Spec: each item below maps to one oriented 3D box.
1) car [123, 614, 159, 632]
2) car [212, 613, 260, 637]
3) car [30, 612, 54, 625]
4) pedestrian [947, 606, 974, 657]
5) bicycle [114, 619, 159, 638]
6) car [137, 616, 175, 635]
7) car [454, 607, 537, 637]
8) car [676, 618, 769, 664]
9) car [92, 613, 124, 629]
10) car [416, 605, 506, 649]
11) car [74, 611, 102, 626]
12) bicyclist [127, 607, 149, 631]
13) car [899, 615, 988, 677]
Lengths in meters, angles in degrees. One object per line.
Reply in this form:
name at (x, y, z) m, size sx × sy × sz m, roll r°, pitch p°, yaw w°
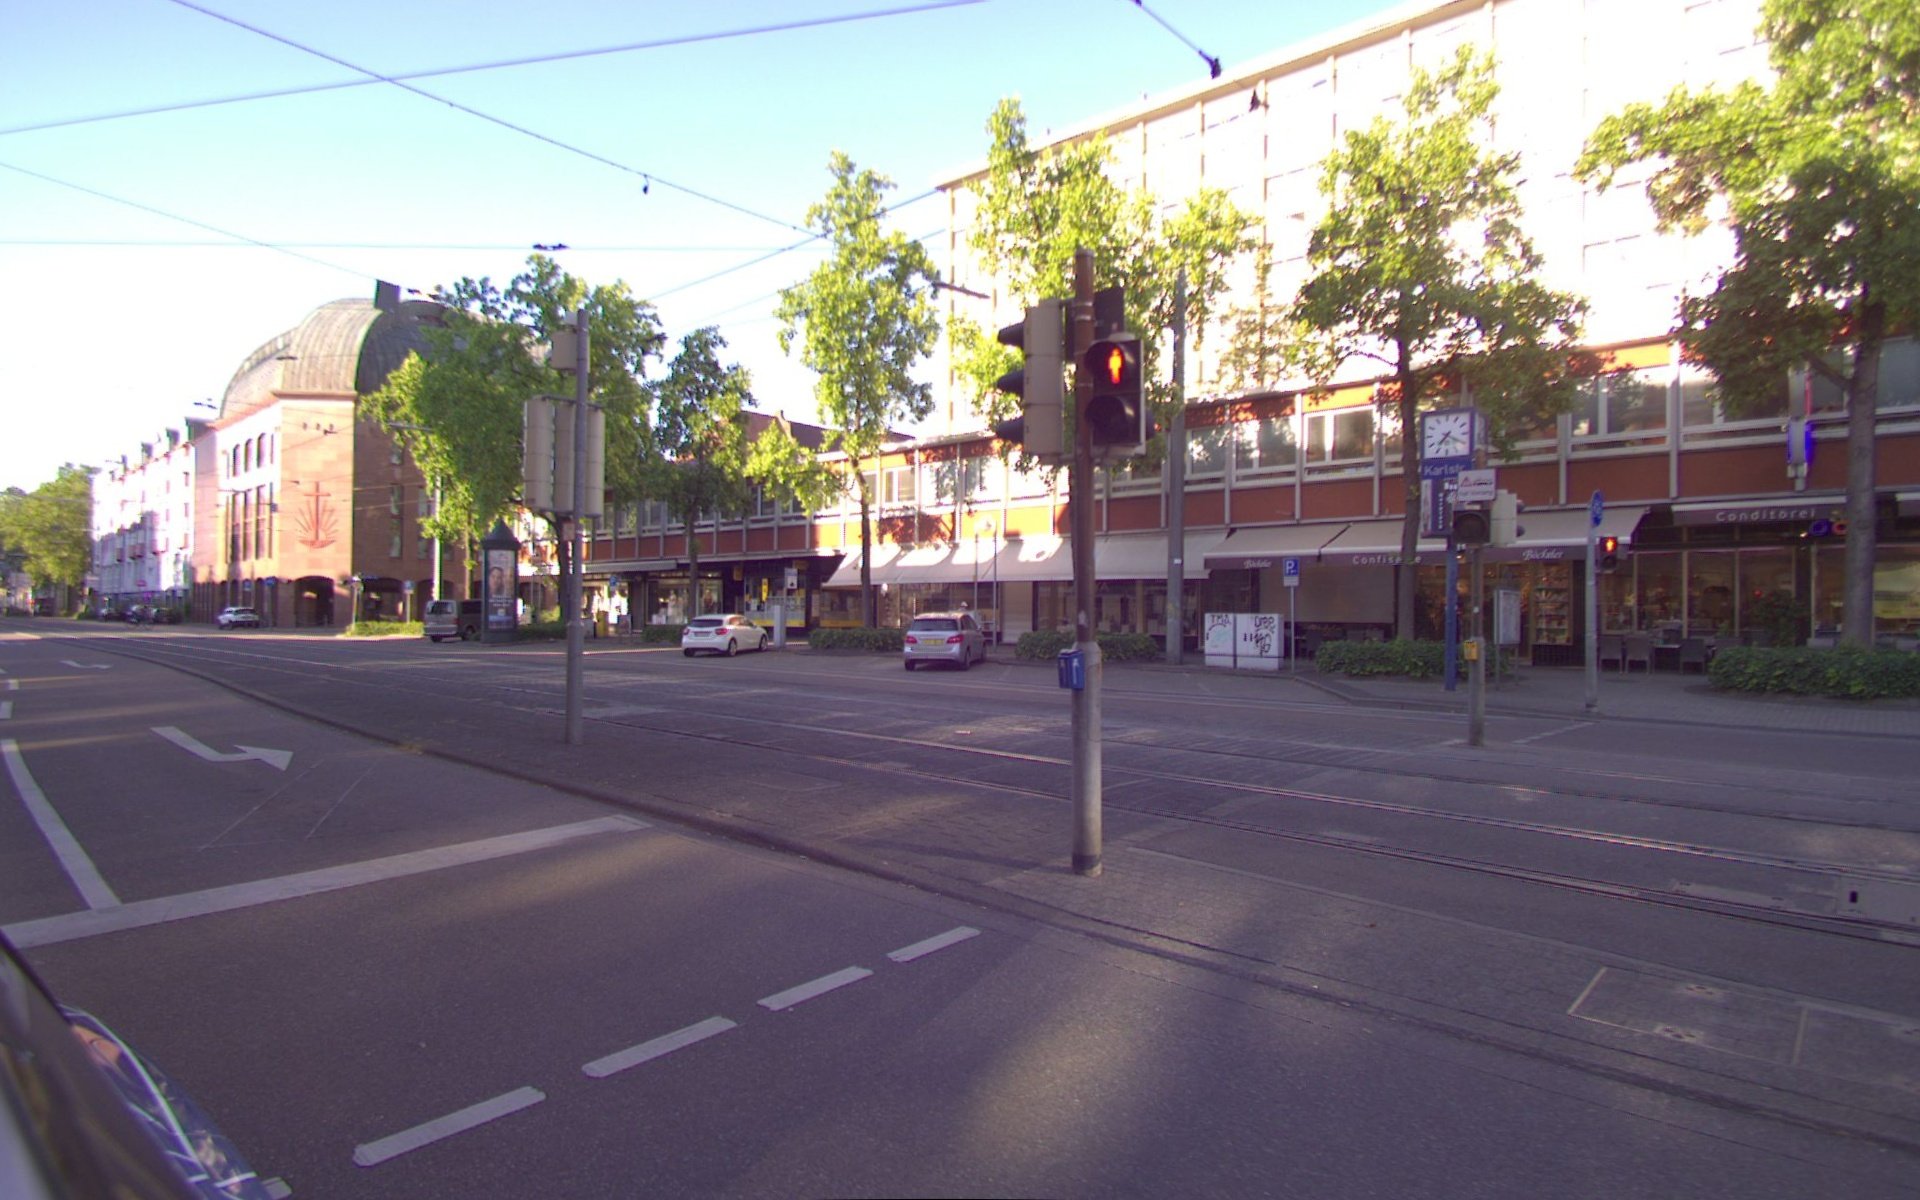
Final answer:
car at (-76.797, 2.130, 94.891) m, size 3.997 × 1.615 × 1.939 m, roll 0°, pitch 0°, yaw 41°
car at (-51.881, 1.739, 72.494) m, size 3.997 × 1.615 × 1.886 m, roll 0°, pitch 0°, yaw 41°
car at (-121.631, 2.446, 134.066) m, size 3.997 × 1.615 × 1.939 m, roll 0°, pitch 0°, yaw 41°
pedestrian at (0.003, 1.101, 35.857) m, size 0.626 × 1.782 × 0.771 m, roll 1°, pitch 0°, yaw -31°
bicycle at (-49.420, 1.705, 60.743) m, size 2.007 × 1.100 × 0.674 m, roll 1°, pitch -1°, yaw -5°
car at (-71.867, 2.243, 90.449) m, size 3.997 × 1.615 × 1.939 m, roll 0°, pitch 0°, yaw 41°
car at (-32.652, 1.532, 71.179) m, size 1.999 × 2.029 × 4.919 m, roll -1°, pitch -2°, yaw 40°
car at (-8.342, 1.402, 35.865) m, size 1.779 × 1.486 × 3.986 m, roll 0°, pitch 0°, yaw 11°
car at (-90.715, 2.199, 107.735) m, size 3.997 × 1.615 × 1.939 m, roll 0°, pitch 0°, yaw 41°
car at (-23.281, 1.214, 47.361) m, size 1.889 × 1.979 × 3.991 m, roll 0°, pitch 0°, yaw 7°
car at (-102.479, 2.168, 118.866) m, size 3.997 × 1.615 × 1.939 m, roll 0°, pitch 0°, yaw 41°
bicyclist at (-49.372, 1.133, 60.763) m, size 0.752 × 1.433 × 0.674 m, roll 0°, pitch -1°, yaw -6°
car at (-0.393, 1.243, 28.700) m, size 1.779 × 1.566 × 3.986 m, roll 0°, pitch 0°, yaw 11°
